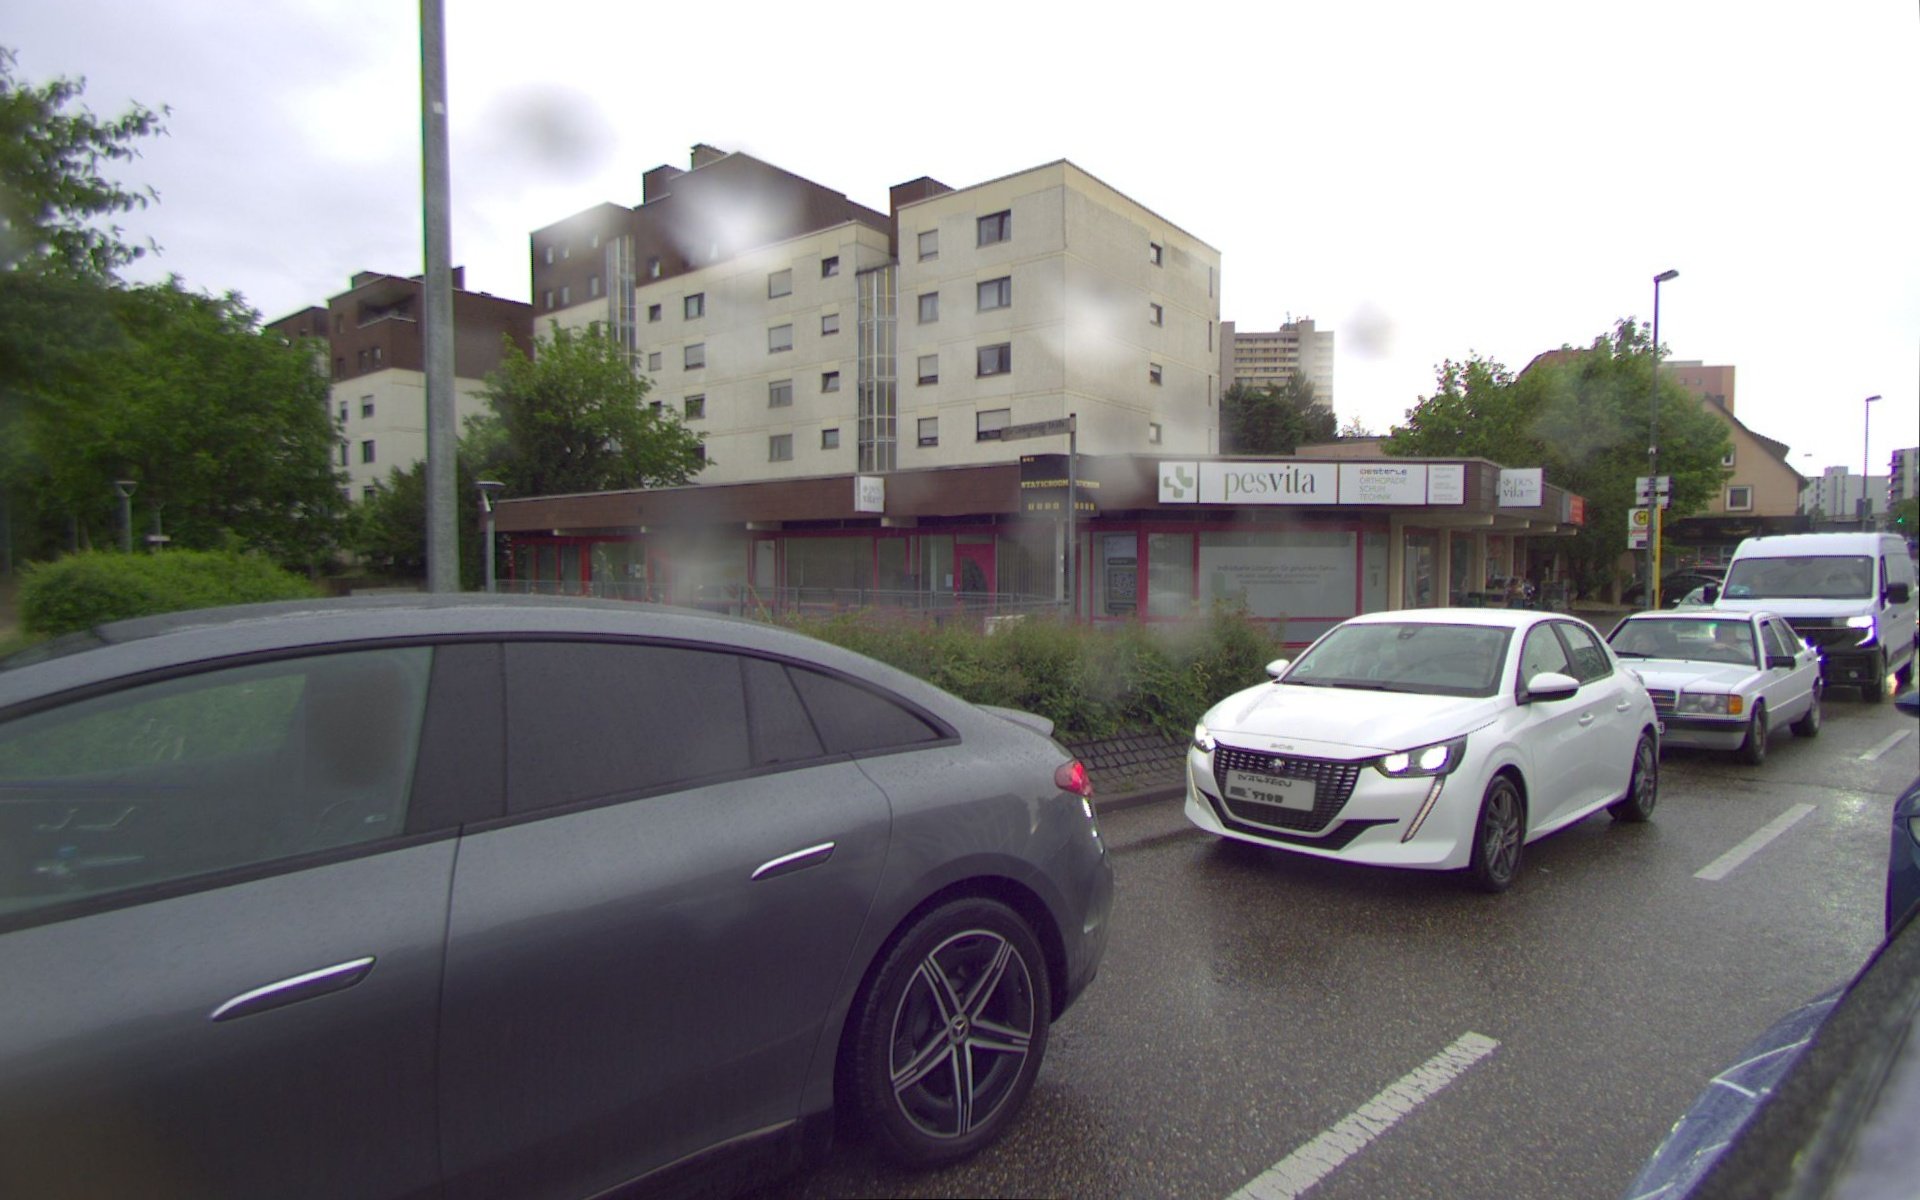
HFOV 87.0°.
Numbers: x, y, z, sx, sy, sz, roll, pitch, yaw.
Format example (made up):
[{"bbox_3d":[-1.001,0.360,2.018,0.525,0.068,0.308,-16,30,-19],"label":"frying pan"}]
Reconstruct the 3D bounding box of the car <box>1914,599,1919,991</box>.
[{"bbox_3d":[5.441,0.693,4.368,3.933,1.406,1.690,-1,1,-43],"label":"car"}]

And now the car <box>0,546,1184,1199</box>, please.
[{"bbox_3d":[-1.639,0.671,2.424,4.724,1.485,1.840,0,-1,-41],"label":"car"}]

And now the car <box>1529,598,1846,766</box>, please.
[{"bbox_3d":[7.711,0.690,10.590,4.089,1.362,1.787,-1,1,-41],"label":"car"}]

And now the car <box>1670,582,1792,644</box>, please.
[{"bbox_3d":[20.316,0.286,26.622,3.930,1.509,1.787,-1,1,-41],"label":"car"}]

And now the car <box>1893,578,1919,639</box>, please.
[{"bbox_3d":[26.443,0.203,27.024,3.930,1.558,1.802,-1,2,-41],"label":"car"}]

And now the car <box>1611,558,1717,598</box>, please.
[{"bbox_3d":[33.111,-1.060,47.665,3.981,1.801,1.858,2,2,39],"label":"car"}]

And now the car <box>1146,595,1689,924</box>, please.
[{"bbox_3d":[3.128,0.707,6.511,4.043,1.433,1.665,-1,1,-41],"label":"car"}]

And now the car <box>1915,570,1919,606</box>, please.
[{"bbox_3d":[44.735,-0.566,45.768,3.933,1.588,1.996,-2,1,-43],"label":"car"}]

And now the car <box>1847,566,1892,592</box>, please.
[{"bbox_3d":[67.666,-1.549,75.269,3.930,1.776,1.879,0,3,-41],"label":"car"}]

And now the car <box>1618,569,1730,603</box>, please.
[{"bbox_3d":[31.971,-0.641,45.339,3.981,1.445,1.858,2,2,39],"label":"car"}]

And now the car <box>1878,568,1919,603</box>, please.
[{"bbox_3d":[57.093,-0.915,61.373,1.993,2.038,3.938,2,3,43],"label":"car"}]

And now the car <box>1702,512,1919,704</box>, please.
[{"bbox_3d":[13.942,0.022,16.289,6.021,2.549,2.194,-2,2,-43],"label":"car"}]

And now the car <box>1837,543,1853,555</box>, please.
[{"bbox_3d":[139.426,-8.024,159.469,1.657,1.654,3.754,1,1,37],"label":"car"}]
